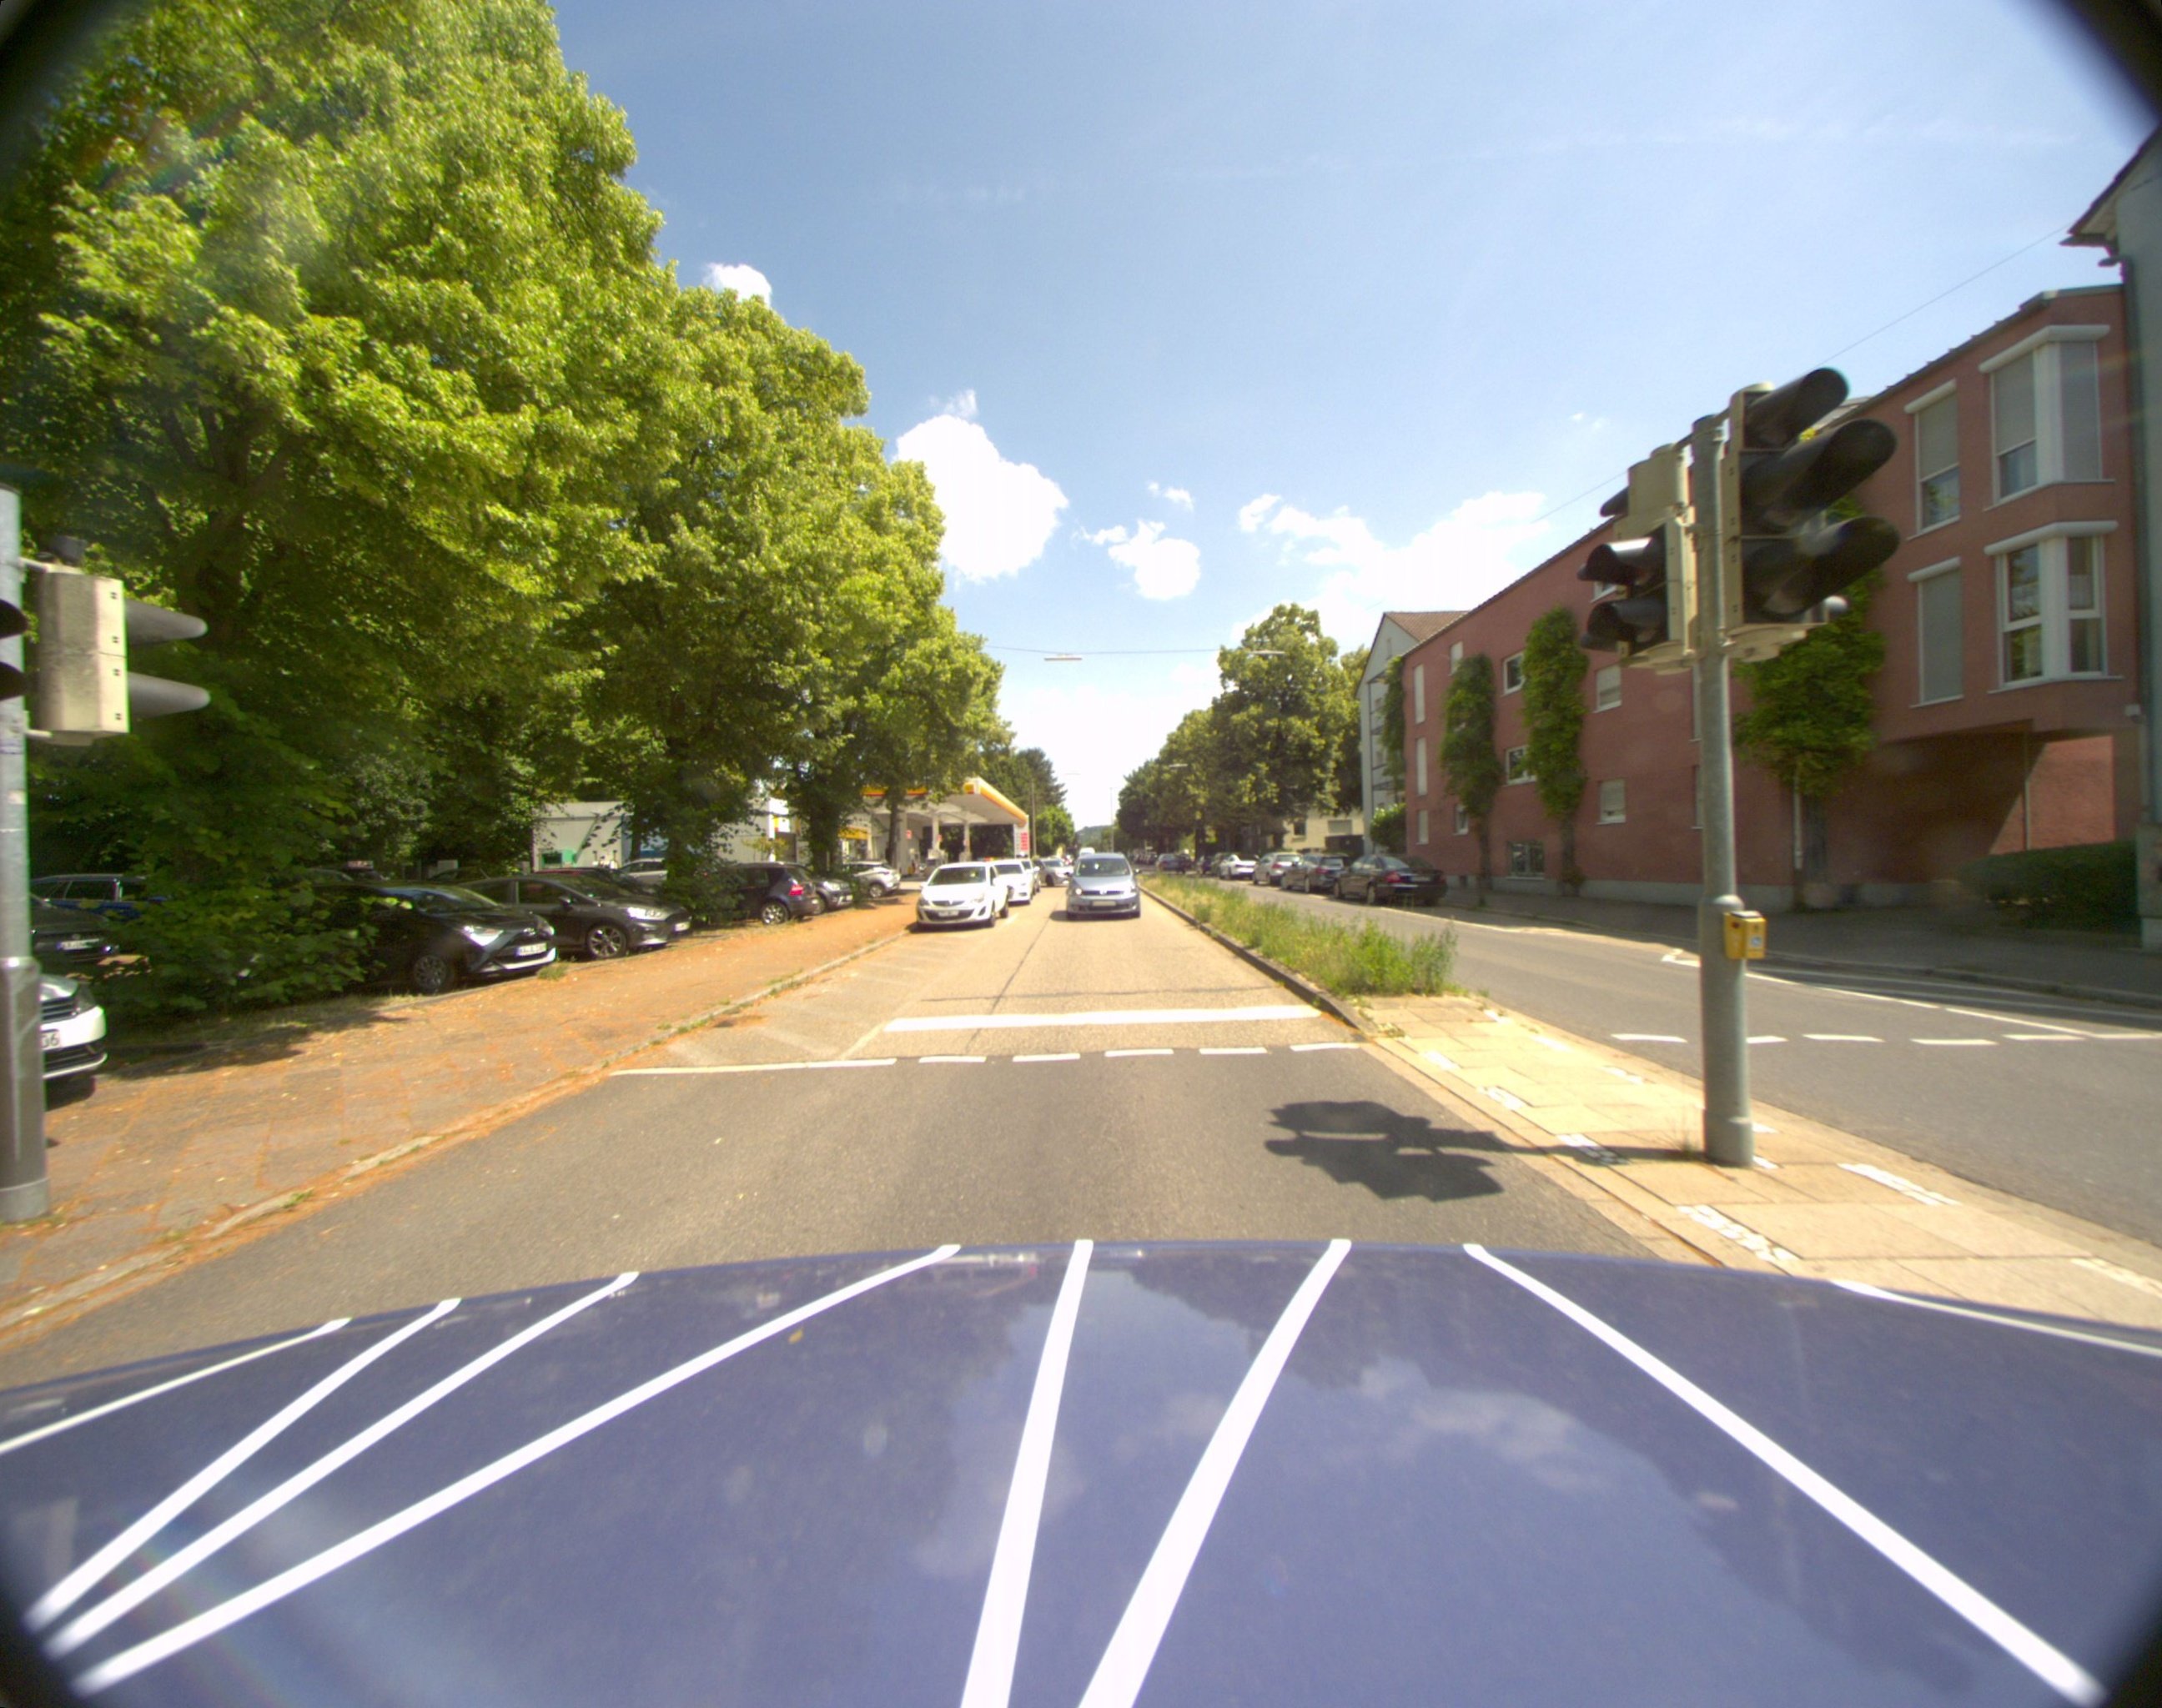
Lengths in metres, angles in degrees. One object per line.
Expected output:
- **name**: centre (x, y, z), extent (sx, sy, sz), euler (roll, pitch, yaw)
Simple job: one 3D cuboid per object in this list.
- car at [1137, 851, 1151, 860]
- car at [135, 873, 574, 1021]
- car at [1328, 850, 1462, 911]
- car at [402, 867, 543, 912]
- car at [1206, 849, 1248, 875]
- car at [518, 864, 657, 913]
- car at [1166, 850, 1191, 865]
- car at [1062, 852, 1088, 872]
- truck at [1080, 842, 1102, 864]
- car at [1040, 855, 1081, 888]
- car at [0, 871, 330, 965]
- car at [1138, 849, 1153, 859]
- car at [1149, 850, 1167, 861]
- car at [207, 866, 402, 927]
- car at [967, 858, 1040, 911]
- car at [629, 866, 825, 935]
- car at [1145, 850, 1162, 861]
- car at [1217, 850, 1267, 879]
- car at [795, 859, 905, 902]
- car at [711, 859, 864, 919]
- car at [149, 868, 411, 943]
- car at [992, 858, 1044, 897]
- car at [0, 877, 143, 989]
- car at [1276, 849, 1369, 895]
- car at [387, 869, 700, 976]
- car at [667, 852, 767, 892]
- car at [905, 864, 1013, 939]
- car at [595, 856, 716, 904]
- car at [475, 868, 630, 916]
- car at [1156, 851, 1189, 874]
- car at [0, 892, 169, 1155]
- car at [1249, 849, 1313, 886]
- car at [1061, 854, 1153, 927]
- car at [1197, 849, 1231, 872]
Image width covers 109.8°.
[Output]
- **car**: centre (9.440, 0.248, 114.300), extent (1.757, 1.325, 3.607), euler (-3, 0, -1)
- **car**: centre (-9.339, 1.148, 10.035), extent (4.078, 1.485, 1.636), euler (-3, 1, -1)
- **car**: centre (8.895, 0.681, 22.012), extent (1.891, 1.531, 4.567), euler (-1, 0, -1)
- **car**: centre (-22.888, 1.316, 28.709), extent (3.809, 1.554, 1.737), euler (-1, 0, -4)
- **car**: centre (9.166, 0.494, 47.940), extent (1.752, 1.499, 3.999), euler (-3, 0, -1)
- **car**: centre (-17.837, 1.226, 27.591), extent (3.809, 1.574, 1.737), euler (-1, 0, -4)
- **car**: centre (9.077, 0.332, 70.871), extent (1.757, 1.325, 3.607), euler (-3, 0, -1)
- **car**: centre (-0.445, 0.639, 61.654), extent (1.867, 1.516, 4.292), euler (-2, 0, 1)
- **truck**: centre (1.119, -0.132, 83.103), extent (1.867, 2.211, 4.506), euler (-2, 0, 6)
- **car**: centre (-1.098, 0.852, 39.495), extent (1.868, 1.516, 4.290), euler (-2, 0, -4)
- **car**: centre (-17.669, 1.179, 14.672), extent (4.265, 1.578, 1.818), euler (-1, 0, -6)
- **car**: centre (9.200, 0.050, 109.187), extent (1.757, 1.325, 3.607), euler (-3, 0, -1)
- **car**: centre (9.407, 0.186, 93.133), extent (1.757, 1.325, 3.607), euler (-3, 0, -1)
- **car**: centre (-22.805, 1.216, 22.450), extent (3.808, 1.616, 1.737), euler (-1, 0, -4)
- **car**: centre (-2.508, 0.963, 25.576), extent (1.867, 1.516, 4.208), euler (-2, 0, 1)
- **car**: centre (-8.272, 1.058, 18.061), extent (3.849, 1.350, 1.628), euler (-3, 0, -8)
- **car**: centre (9.382, 0.140, 98.061), extent (1.757, 1.325, 3.607), euler (-3, 0, -1)
- **car**: centre (8.731, 0.524, 41.423), extent (1.752, 1.433, 3.999), euler (-3, 0, -1)
- **car**: centre (-8.989, 1.024, 29.869), extent (3.762, 1.518, 1.853), euler (-1, 0, -3)
- **car**: centre (-8.425, 0.998, 21.918), extent (3.763, 1.526, 1.631), euler (-2, 1, 11)
- **car**: centre (-18.205, 1.131, 17.427), extent (3.956, 1.513, 1.737), euler (-1, 0, -4)
- **car**: centre (-2.563, 0.952, 31.654), extent (1.775, 1.434, 3.338), euler (-2, 0, 1)
- **car**: centre (-17.926, 1.213, 11.834), extent (4.263, 1.578, 1.818), euler (-1, 0, -1)
- **car**: centre (8.887, 0.596, 28.371), extent (1.891, 1.531, 4.567), euler (-1, 0, -1)
- **car**: centre (-9.000, 1.116, 12.984), extent (4.078, 1.485, 1.636), euler (-3, 1, -1)
- **car**: centre (-19.297, 0.930, 40.418), extent (4.375, 1.985, 1.854), euler (-1, 1, -4)
- **car**: centre (-2.766, 1.032, 18.135), extent (1.721, 1.434, 4.111), euler (-3, 0, 2)
- **car**: centre (-17.310, 1.031, 31.058), extent (3.808, 1.840, 1.932), euler (-1, 0, -4)
- **car**: centre (-17.358, 1.225, 25.098), extent (3.808, 1.456, 1.737), euler (-1, 0, -4)
- **car**: centre (6.490, 0.587, 54.226), extent (1.752, 1.499, 3.999), euler (-3, 0, -1)
- **car**: centre (-8.478, 1.141, 4.280), extent (4.336, 1.485, 1.808), euler (-4, 0, -1)
- **car**: centre (8.987, 0.579, 34.494), extent (1.752, 1.499, 3.999), euler (-3, 0, -1)
- **car**: centre (0.752, 0.808, 18.607), extent (1.746, 1.513, 4.225), euler (-2, 0, 8)
- **car**: centre (9.246, 0.425, 53.106), extent (1.572, 1.499, 3.999), euler (-3, 0, -1)
